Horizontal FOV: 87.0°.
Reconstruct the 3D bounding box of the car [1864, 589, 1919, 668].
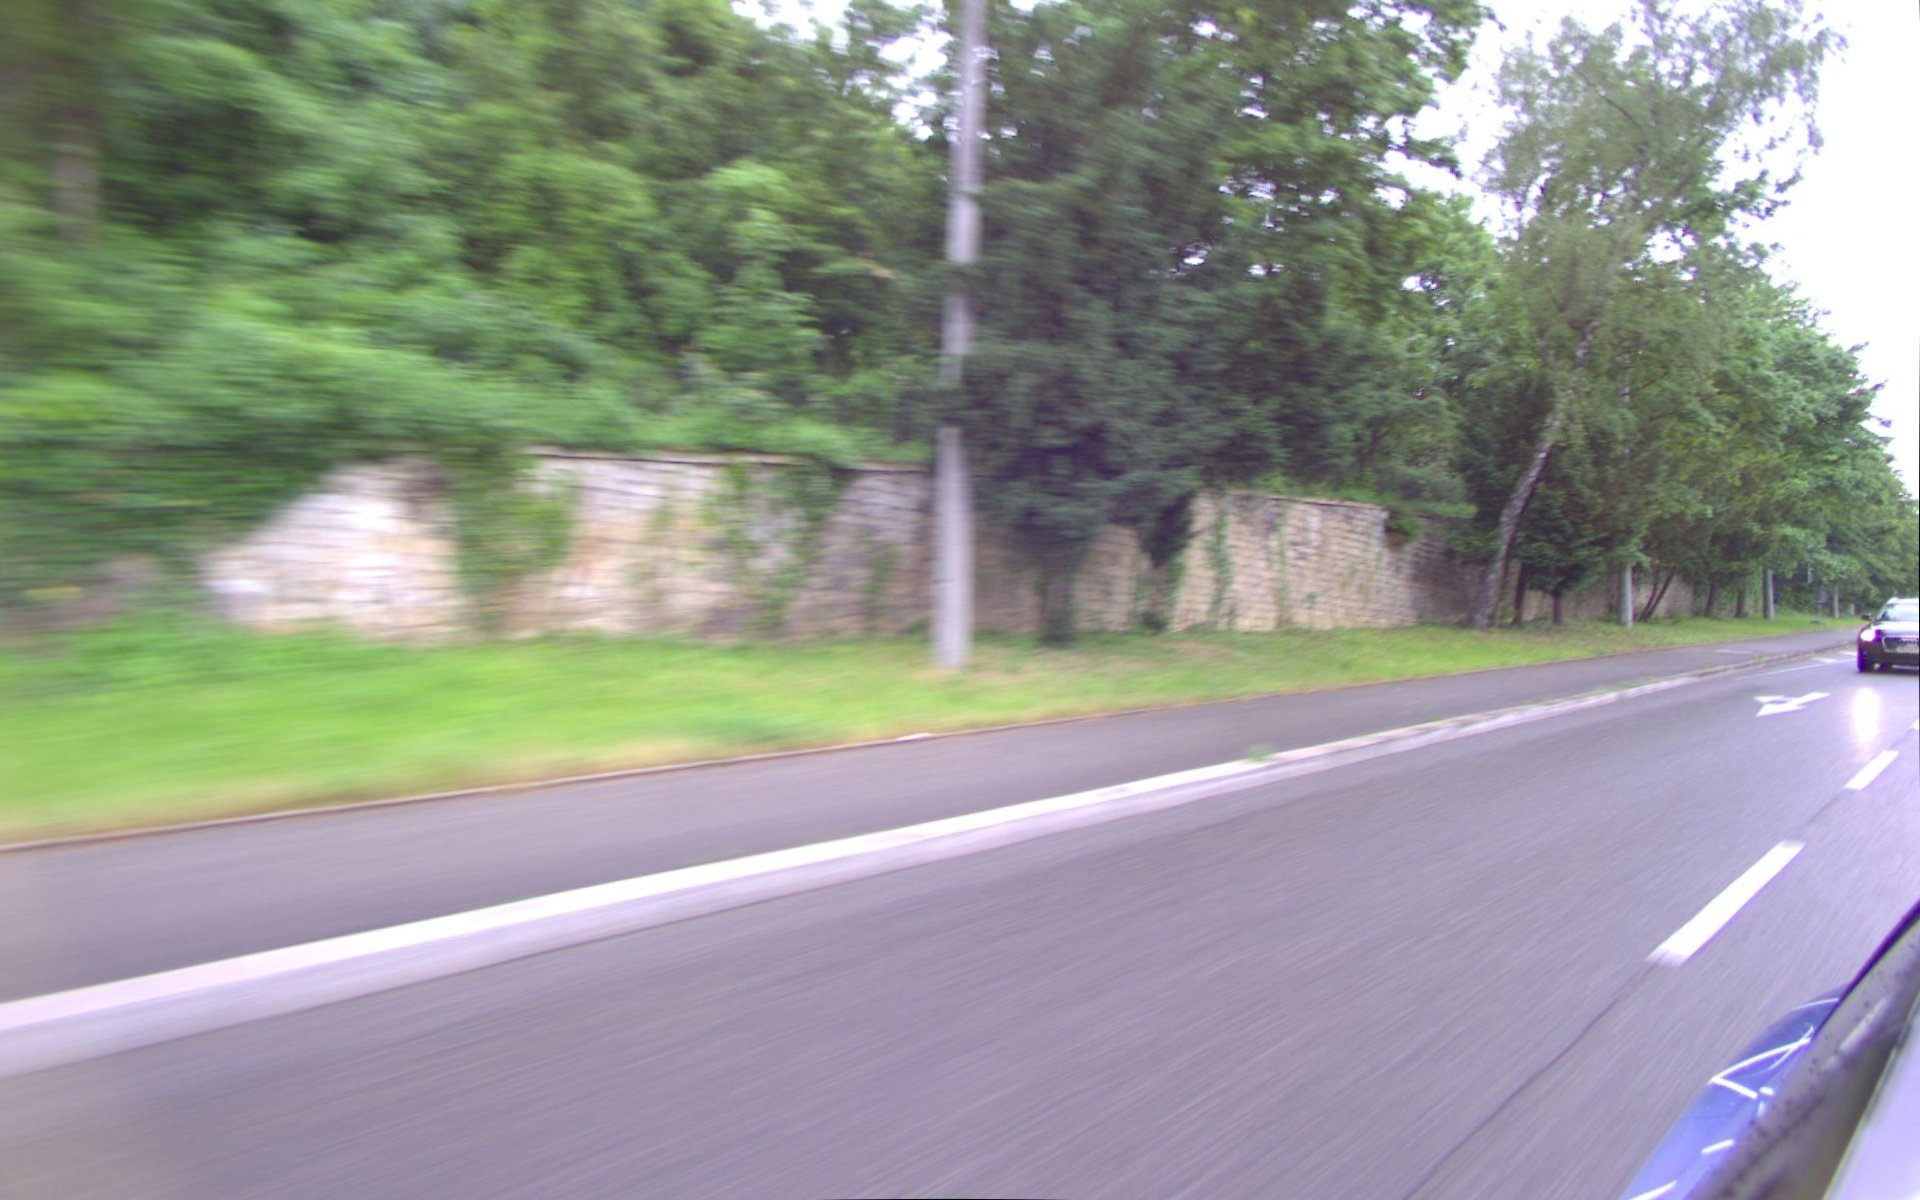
[{"bbox_3d":[21.320,0.580,22.013,4.204,1.621,1.926,0,1,-40],"label":"car"}]
